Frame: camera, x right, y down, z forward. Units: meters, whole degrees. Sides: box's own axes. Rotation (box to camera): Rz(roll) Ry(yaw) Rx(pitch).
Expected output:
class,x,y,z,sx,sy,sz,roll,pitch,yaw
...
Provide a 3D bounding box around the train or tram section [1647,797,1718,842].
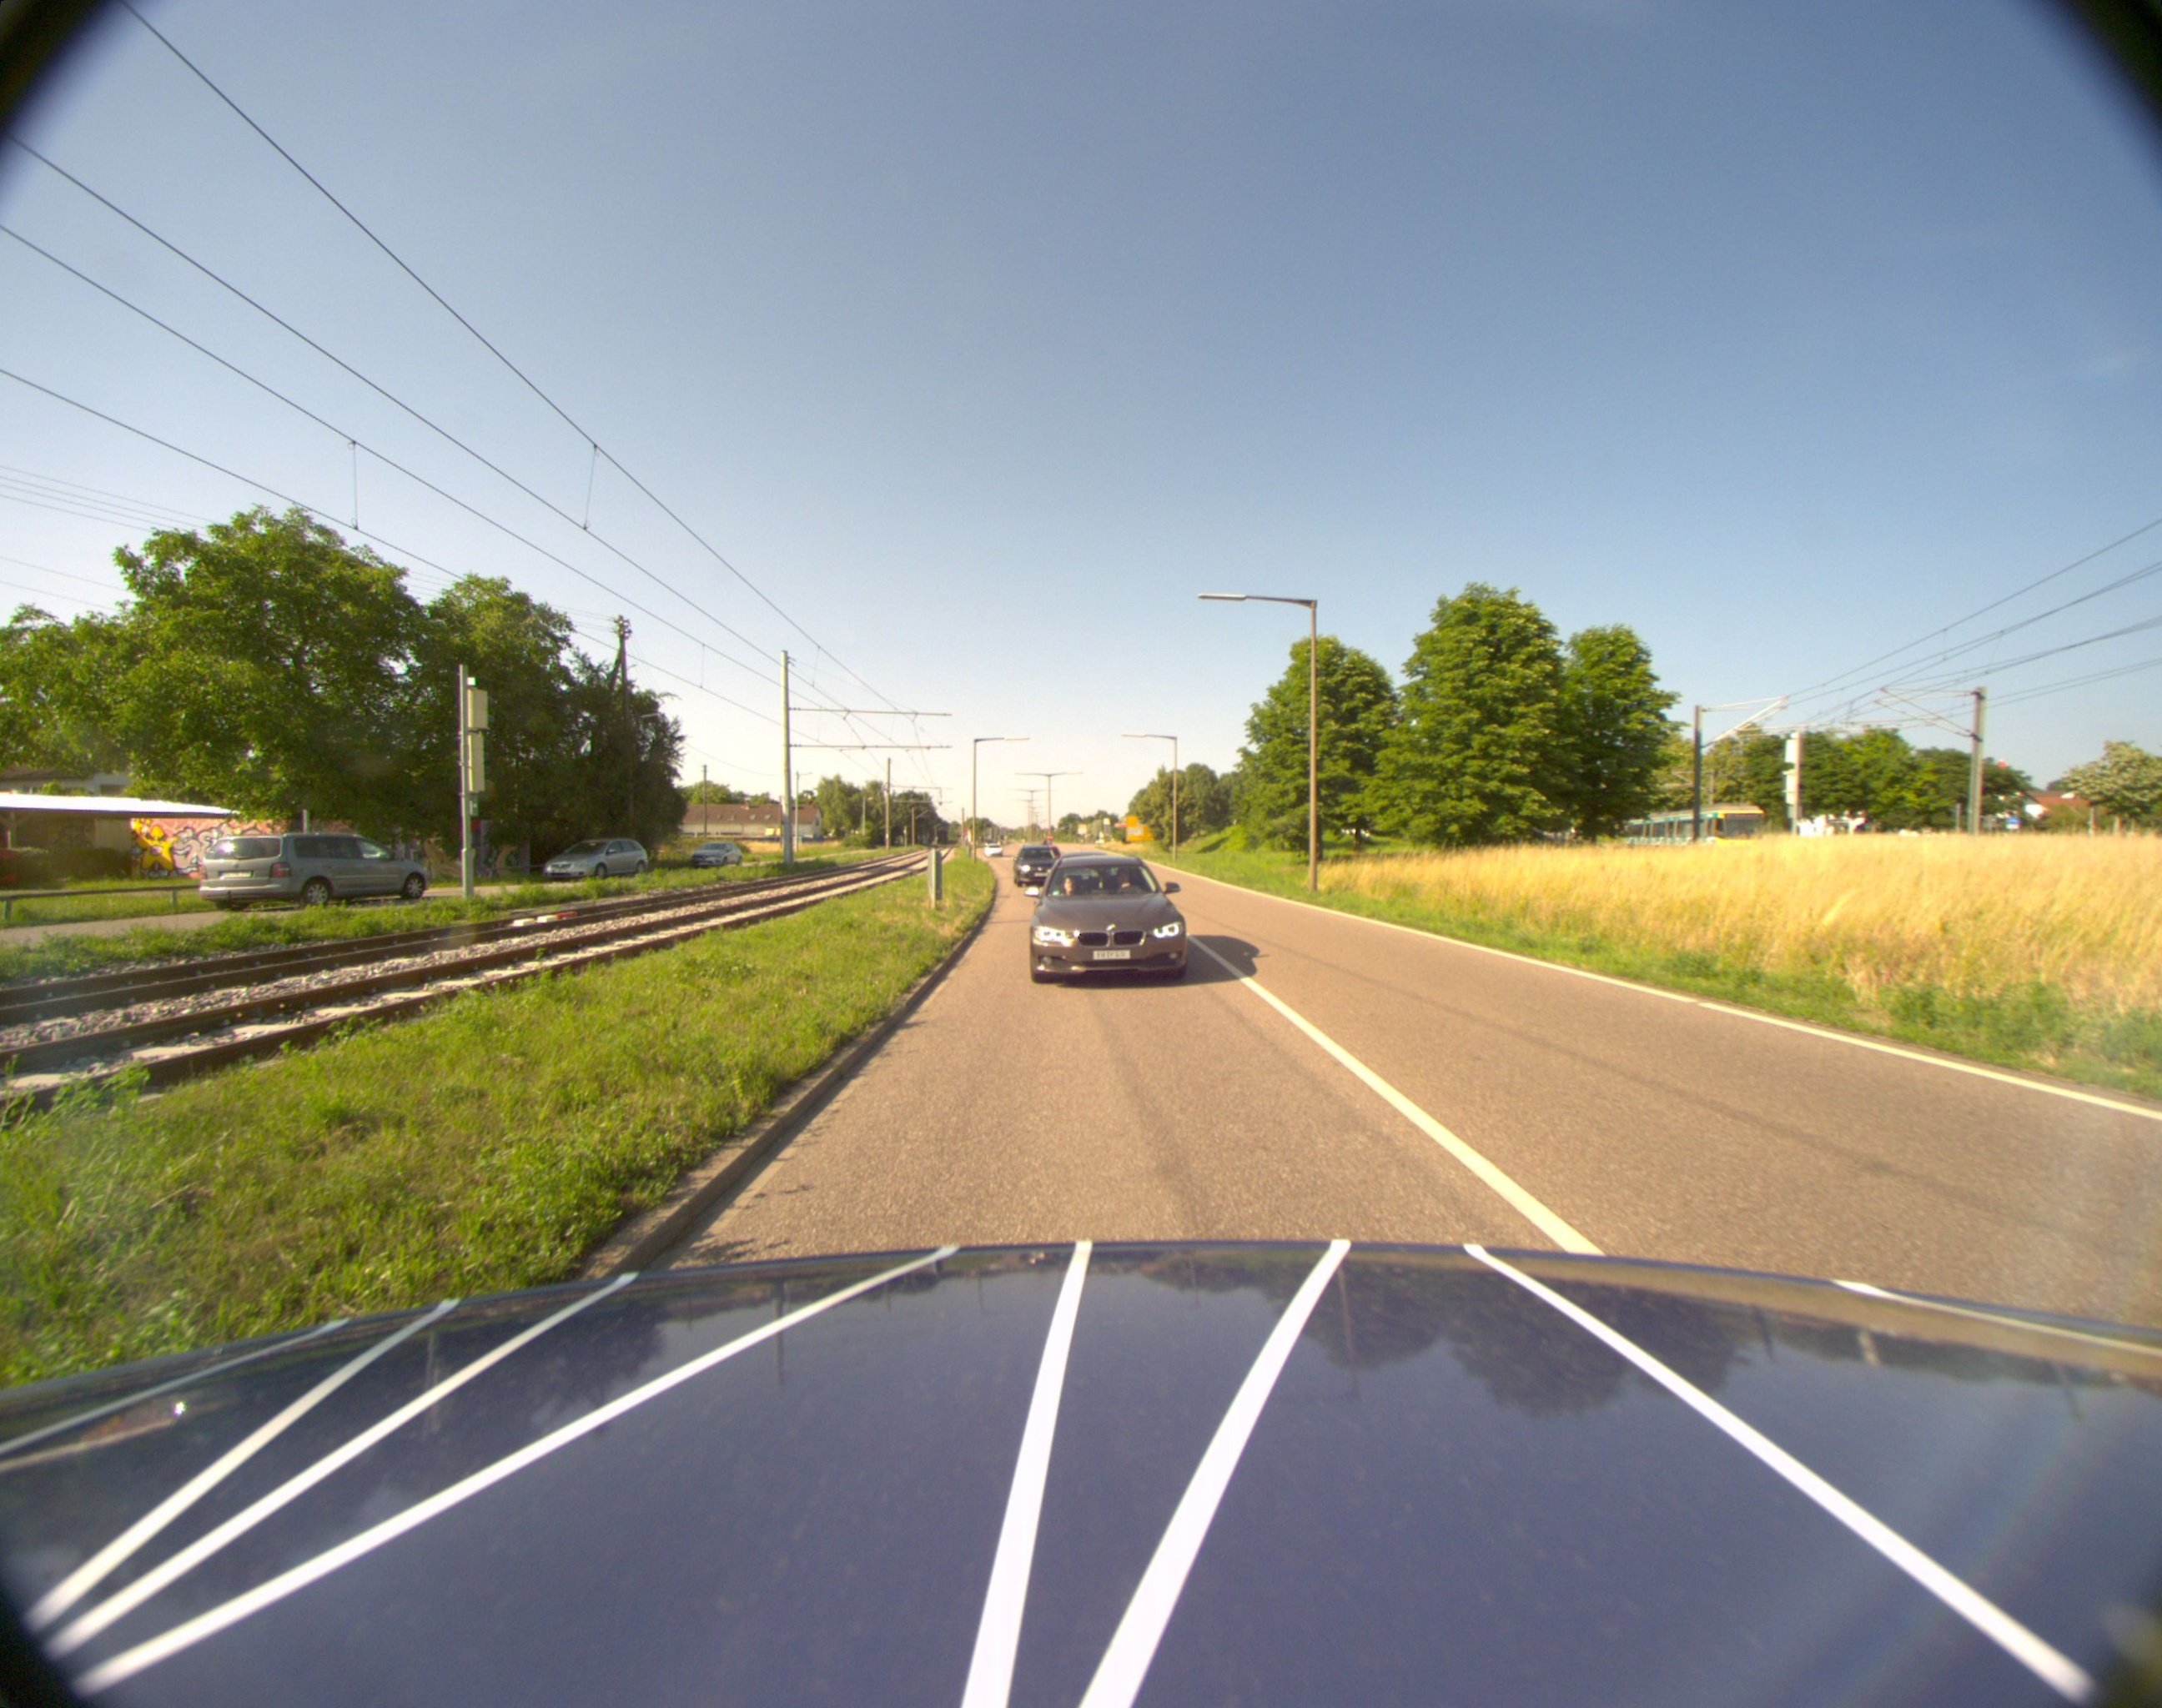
class,x,y,z,sx,sy,sz,roll,pitch,yaw
train or tram section,51.220,-2.940,65.051,2.919,3.435,12.184,-1,2,29

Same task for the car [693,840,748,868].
class,x,y,z,sx,sy,sz,roll,pitch,yaw
car,-19.680,-0.014,41.592,1.539,1.440,4.127,0,1,-8

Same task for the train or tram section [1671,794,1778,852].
class,x,y,z,sx,sy,sz,roll,pitch,yaw
train or tram section,44.785,-2.314,53.465,2.908,3.549,14.280,-1,3,29

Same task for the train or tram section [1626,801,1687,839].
class,x,y,z,sx,sy,sz,roll,pitch,yaw
train or tram section,57.117,-3.315,75.696,2.952,3.465,12.185,-1,1,28

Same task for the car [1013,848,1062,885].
class,x,y,z,sx,sy,sz,roll,pitch,yaw
car,-1.862,0.463,31.686,1.848,1.348,4.151,-2,1,-5

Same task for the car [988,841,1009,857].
class,x,y,z,sx,sy,sz,roll,pitch,yaw
car,-9.172,-0.563,83.887,1.970,1.609,4.303,-1,1,-10

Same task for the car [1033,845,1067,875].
class,x,y,z,sx,sy,sz,roll,pitch,yaw
car,-1.753,0.289,41.879,1.608,1.504,4.265,-2,1,-5

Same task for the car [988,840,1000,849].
class,x,y,z,sx,sy,sz,roll,pitch,yaw
car,-15.585,-1.767,135.673,1.838,1.504,4.149,-2,1,-9

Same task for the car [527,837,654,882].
class,x,y,z,sx,sy,sz,roll,pitch,yaw
car,-18.684,0.155,29.265,1.912,1.581,4.725,0,1,-1

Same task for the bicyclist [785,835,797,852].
class,x,y,z,sx,sy,sz,roll,pitch,yaw
bicyclist,-21.269,-0.782,55.714,0.641,1.226,0.790,-1,2,-6

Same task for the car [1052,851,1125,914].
class,x,y,z,sx,sy,sz,roll,pitch,yaw
car,0.178,0.665,20.287,1.711,1.444,4.589,-1,1,0

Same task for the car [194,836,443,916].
class,x,y,z,sx,sy,sz,roll,pitch,yaw
car,-17.145,0.410,17.463,1.527,1.601,4.480,0,1,-6

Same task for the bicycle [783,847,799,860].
class,x,y,z,sx,sy,sz,roll,pitch,yaw
bicycle,-21.255,-0.034,55.696,0.644,0.904,1.812,-1,1,-6

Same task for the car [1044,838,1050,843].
class,x,y,z,sx,sy,sz,roll,pitch,yaw
car,-10.859,-4.313,244.056,1.564,1.369,3.381,-3,3,-11

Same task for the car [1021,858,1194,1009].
class,x,y,z,sx,sy,sz,roll,pitch,yaw
car,0.258,0.829,9.776,1.747,1.444,3.946,-1,1,-1
